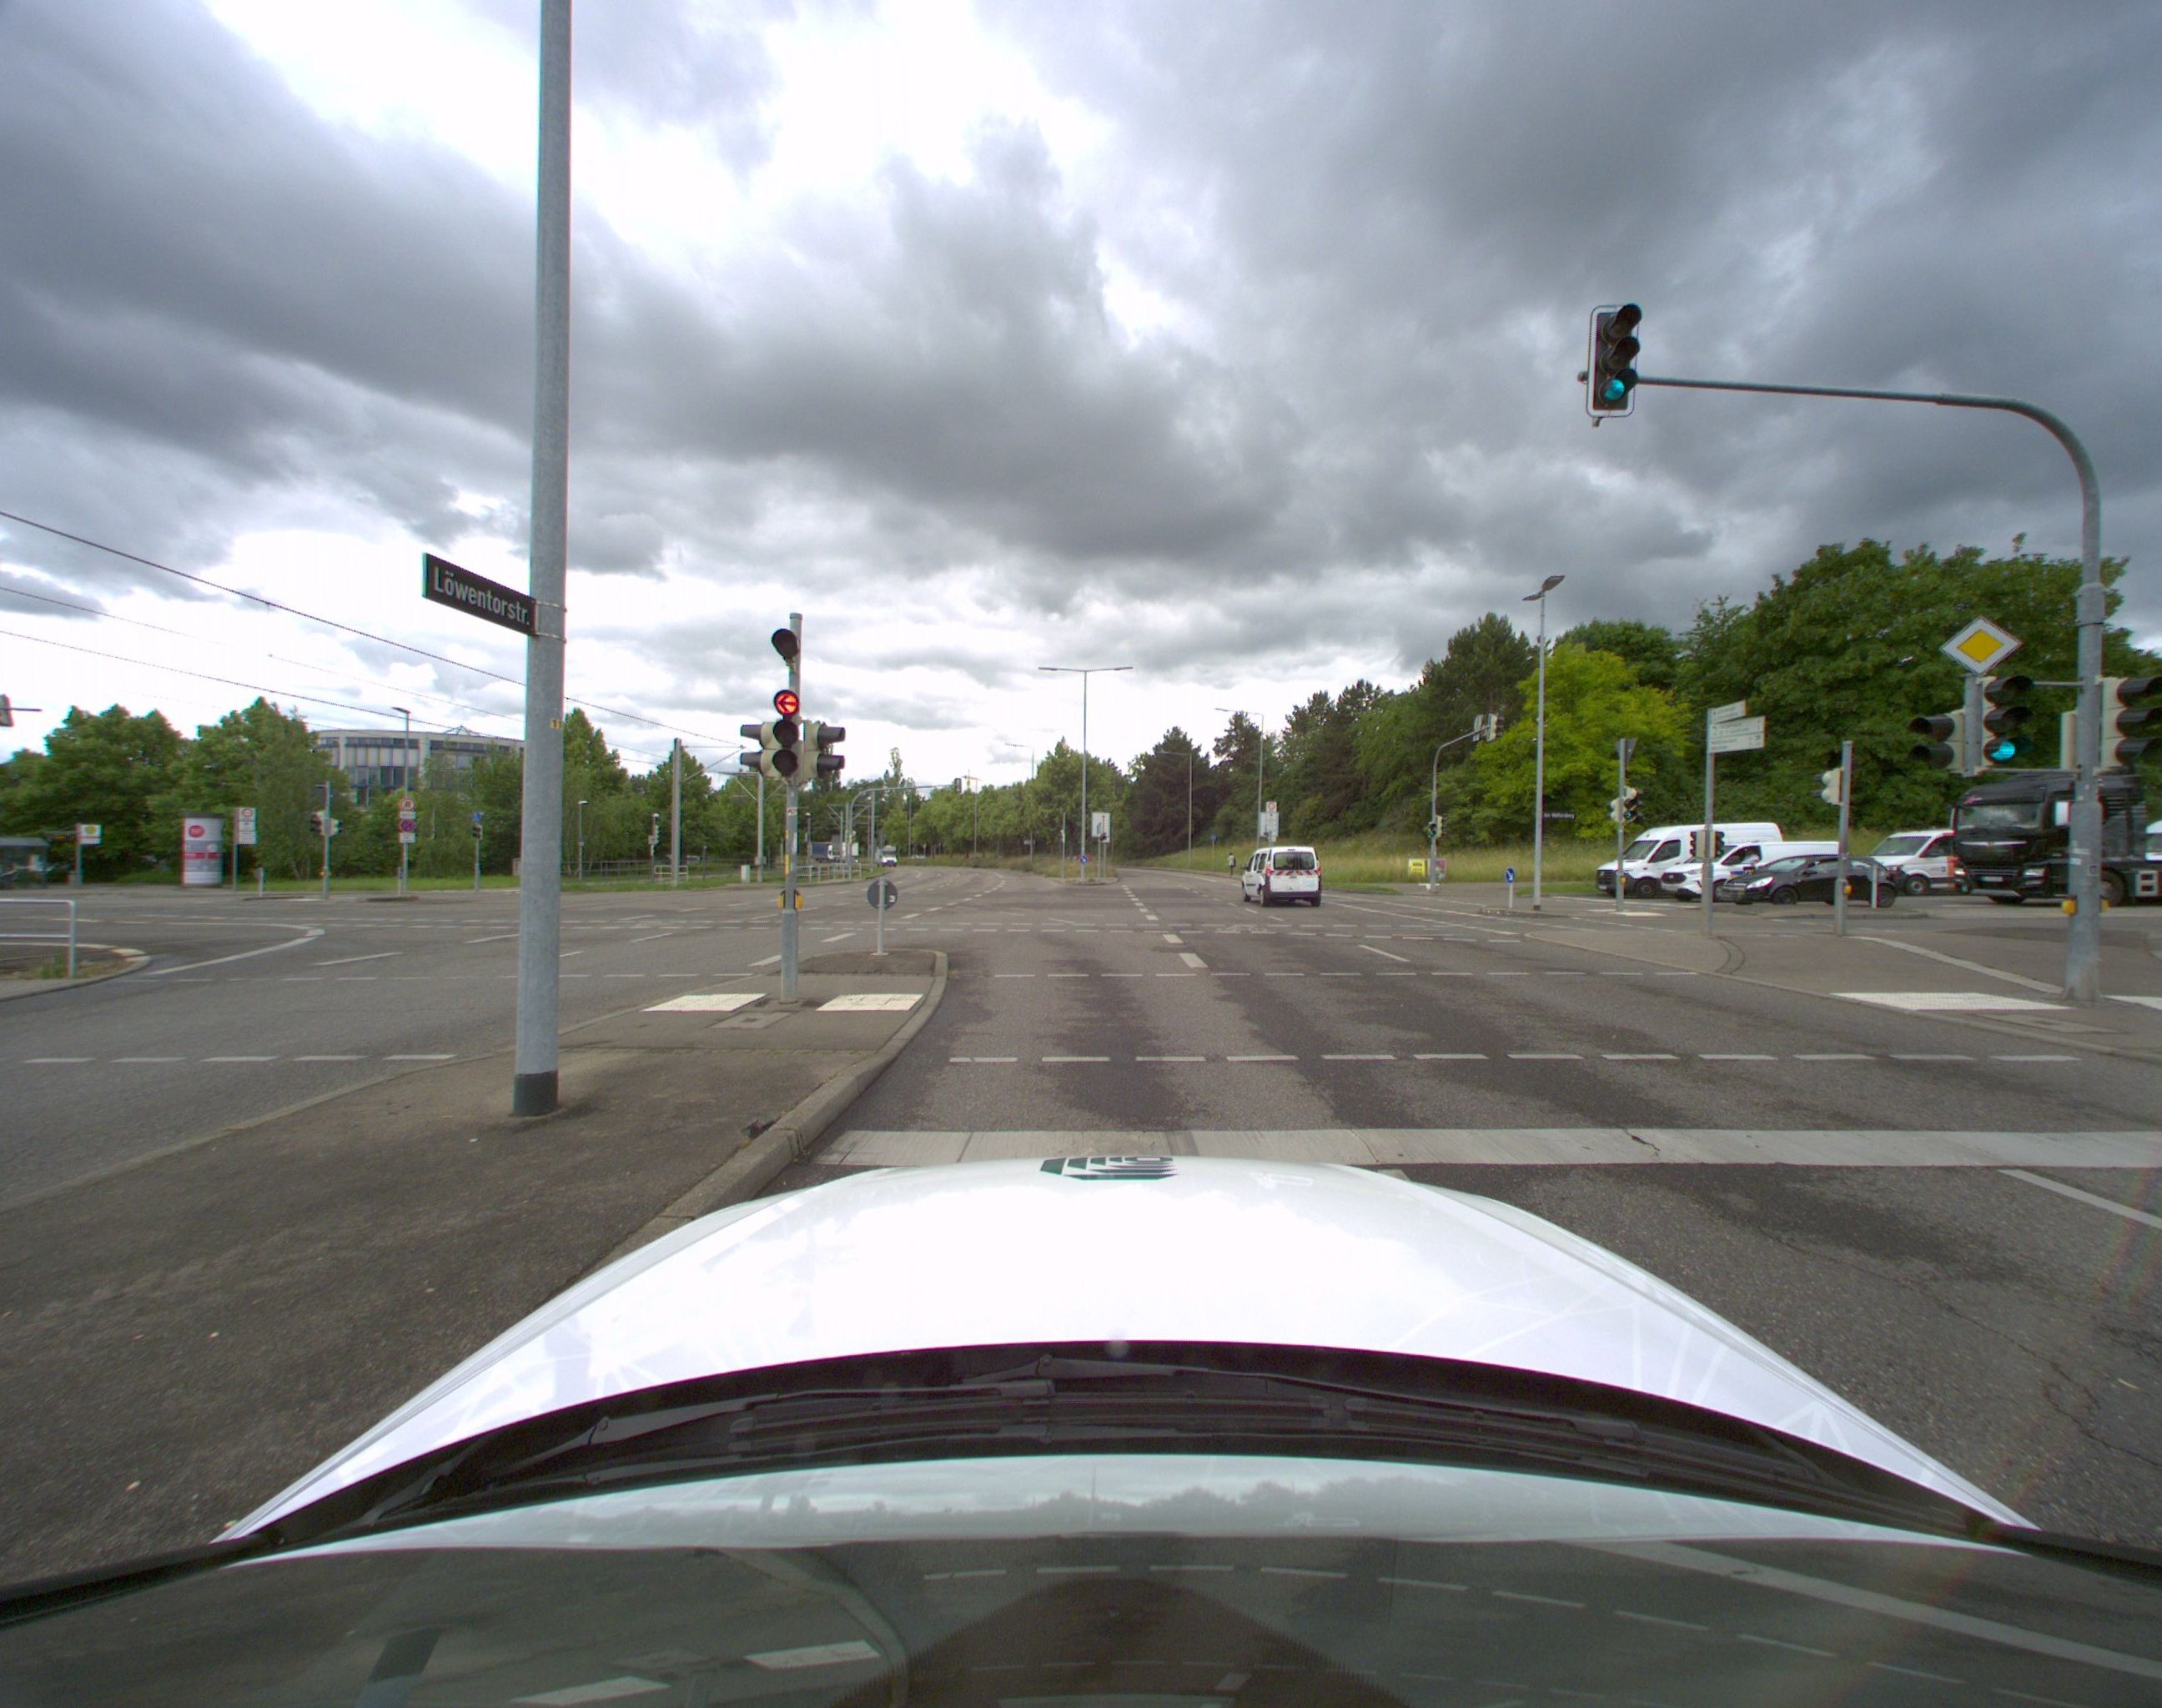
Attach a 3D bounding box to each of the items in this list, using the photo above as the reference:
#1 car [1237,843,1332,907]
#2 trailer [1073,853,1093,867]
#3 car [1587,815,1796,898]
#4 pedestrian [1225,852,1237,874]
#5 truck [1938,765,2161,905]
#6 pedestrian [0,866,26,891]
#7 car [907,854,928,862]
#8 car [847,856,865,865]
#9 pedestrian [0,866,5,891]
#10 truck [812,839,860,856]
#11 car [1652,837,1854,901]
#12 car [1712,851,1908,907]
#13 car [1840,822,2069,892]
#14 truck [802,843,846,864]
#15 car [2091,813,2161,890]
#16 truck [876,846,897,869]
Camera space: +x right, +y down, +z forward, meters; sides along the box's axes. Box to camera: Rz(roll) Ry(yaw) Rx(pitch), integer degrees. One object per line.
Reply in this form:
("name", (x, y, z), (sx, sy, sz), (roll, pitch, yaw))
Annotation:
("car", (6.286, 0.618, 25.754), (1.986, 1.802, 4.842), (-1, -1, 2))
("trailer", (0.249, 0.667, 98.495), (1.766, 1.616, 3.031), (-1, 0, -13))
("car", (21.896, 0.091, 29.407), (5.870, 2.781, 2.136), (-1, 0, 2))
("pedestrian", (11.237, 0.688, 60.989), (0.811, 1.627, 0.791), (0, 0, 1))
("truck", (27.932, -0.519, 22.268), (6.027, 3.538, 2.729), (-1, 0, 2))
("pedestrian", (-56.400, 1.273, 42.934), (0.774, 1.304, 0.666), (0, 0, 15))
("car", (-29.983, 0.779, 149.279), (1.794, 1.421, 4.404), (-1, 0, -44))
("car", (-38.035, 1.067, 137.569), (1.792, 1.446, 4.484), (-2, 2, -31))
("pedestrian", (-57.795, 1.296, 43.155), (0.774, 1.303, 0.666), (0, 0, 15))
("truck", (-50.329, -1.271, 166.948), (11.259, 3.328, 2.766), (0, 0, 33))
("car", (21.590, 0.454, 26.327), (4.836, 1.896, 2.034), (-1, 0, 1))
("car", (20.278, 0.665, 22.771), (3.905, 1.436, 1.732), (-1, 0, 1))
("car", (30.681, 0.106, 28.762), (5.677, 2.289, 2.136), (-1, 0, 2))
("truck", (-49.054, -0.084, 155.011), (3.075, 3.760, 12.659), (0, -1, -42))
("car", (40.018, -0.139, 28.479), (6.473, 2.609, 2.197), (-1, 0, 2))
("truck", (-27.928, 0.514, 116.955), (2.124, 3.135, 5.857), (0, -1, -22))
